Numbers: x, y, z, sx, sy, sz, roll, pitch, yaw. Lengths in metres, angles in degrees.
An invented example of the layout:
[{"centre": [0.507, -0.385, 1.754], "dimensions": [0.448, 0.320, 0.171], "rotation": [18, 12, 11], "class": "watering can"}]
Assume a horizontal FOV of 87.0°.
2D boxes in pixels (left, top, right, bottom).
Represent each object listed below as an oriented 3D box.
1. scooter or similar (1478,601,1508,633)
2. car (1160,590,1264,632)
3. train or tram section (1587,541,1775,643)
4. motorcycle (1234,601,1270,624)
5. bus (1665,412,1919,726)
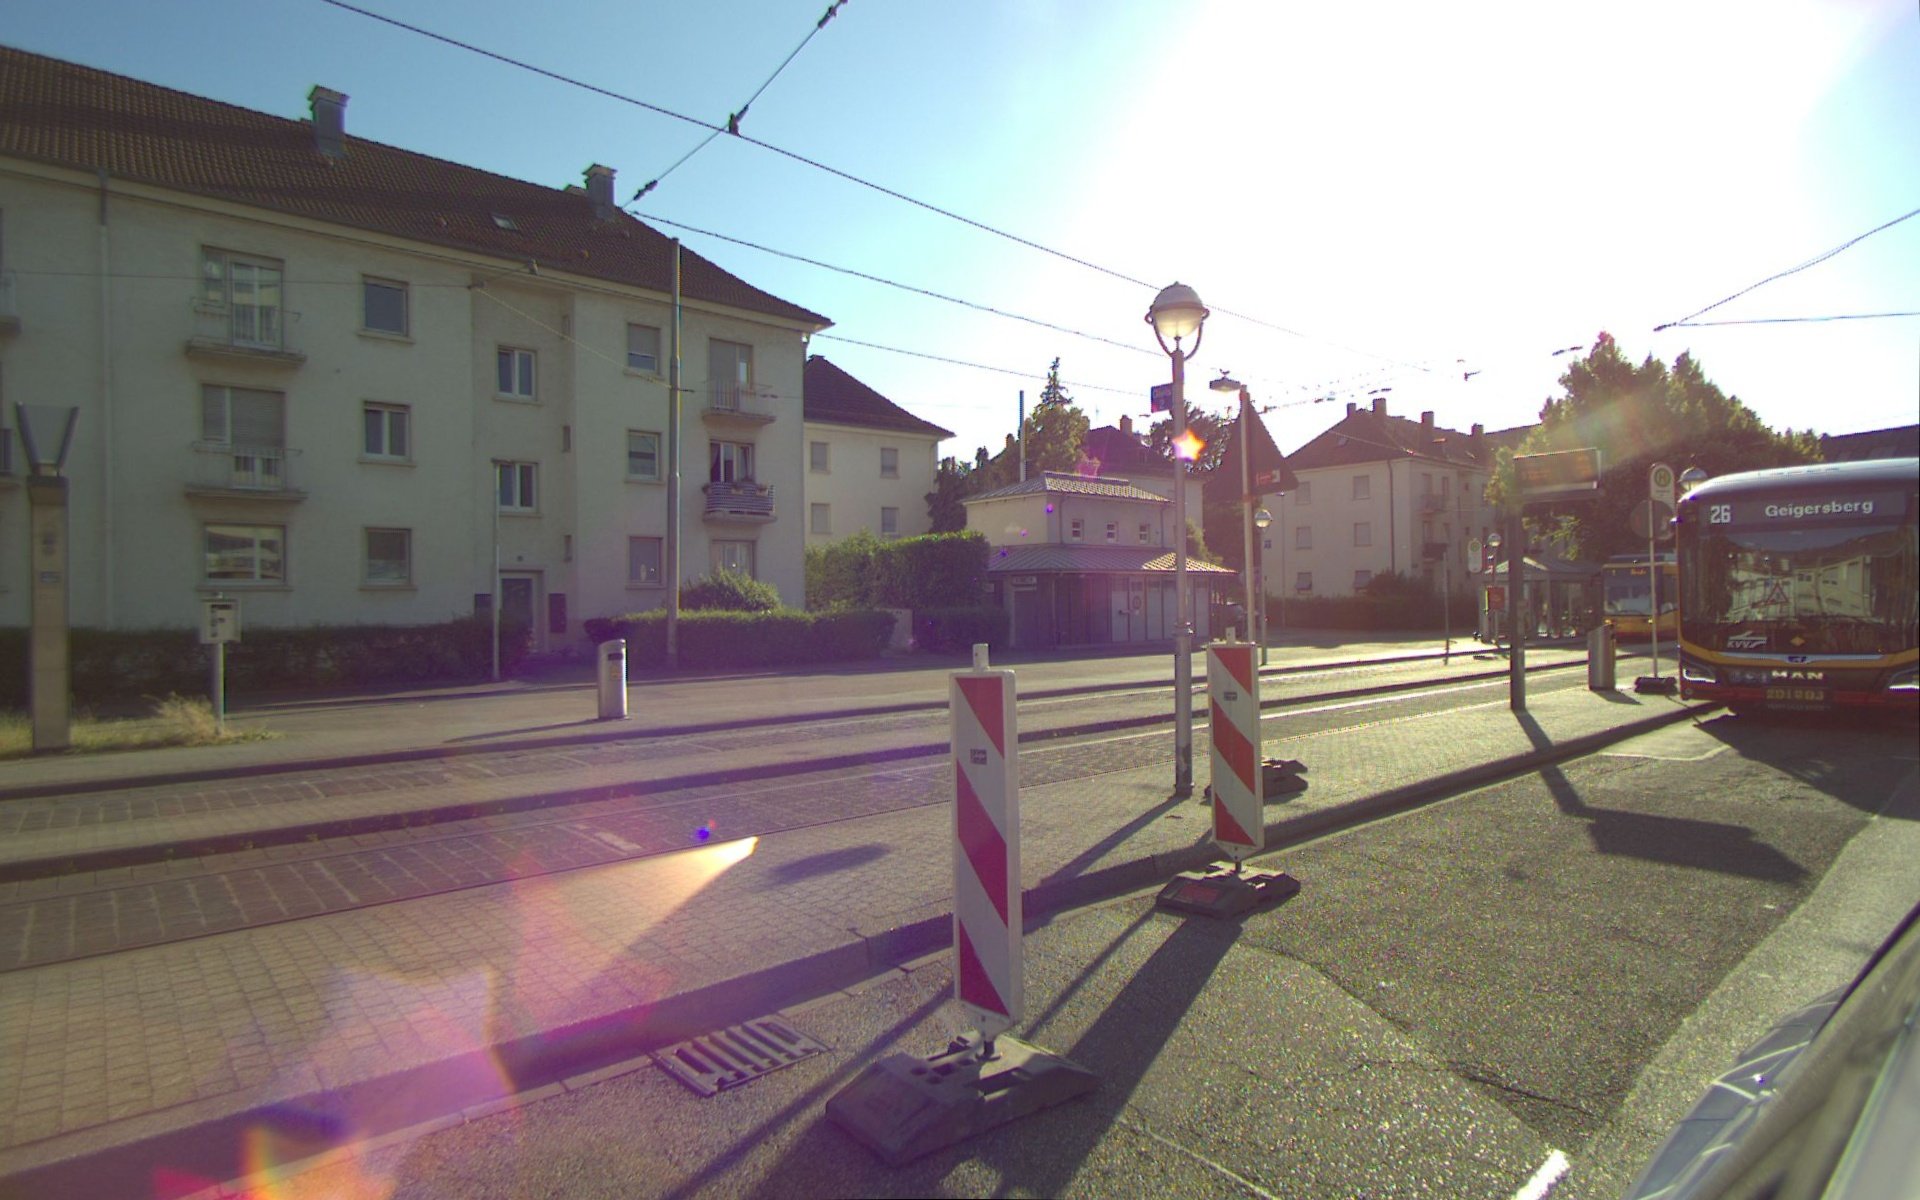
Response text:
[{"centre": [20.698, 0.646, 39.289], "dimensions": [1.185, 1.223, 0.468], "rotation": [-1, 0, -30], "class": "scooter or similar"}, {"centre": [11.599, 0.453, 46.836], "dimensions": [1.963, 1.791, 4.451], "rotation": [-1, 1, -37], "class": "car"}, {"centre": [30.076, -0.514, 41.665], "dimensions": [15.698, 3.578, 2.961], "rotation": [-2, 2, -42], "class": "train or tram section"}, {"centre": [15.814, 0.672, 54.867], "dimensions": [0.549, 1.177, 1.823], "rotation": [0, 0, -43], "class": "motorcycle"}, {"centre": [14.332, -0.370, 15.866], "dimensions": [11.810, 3.460, 2.692], "rotation": [0, 0, -42], "class": "bus"}]
